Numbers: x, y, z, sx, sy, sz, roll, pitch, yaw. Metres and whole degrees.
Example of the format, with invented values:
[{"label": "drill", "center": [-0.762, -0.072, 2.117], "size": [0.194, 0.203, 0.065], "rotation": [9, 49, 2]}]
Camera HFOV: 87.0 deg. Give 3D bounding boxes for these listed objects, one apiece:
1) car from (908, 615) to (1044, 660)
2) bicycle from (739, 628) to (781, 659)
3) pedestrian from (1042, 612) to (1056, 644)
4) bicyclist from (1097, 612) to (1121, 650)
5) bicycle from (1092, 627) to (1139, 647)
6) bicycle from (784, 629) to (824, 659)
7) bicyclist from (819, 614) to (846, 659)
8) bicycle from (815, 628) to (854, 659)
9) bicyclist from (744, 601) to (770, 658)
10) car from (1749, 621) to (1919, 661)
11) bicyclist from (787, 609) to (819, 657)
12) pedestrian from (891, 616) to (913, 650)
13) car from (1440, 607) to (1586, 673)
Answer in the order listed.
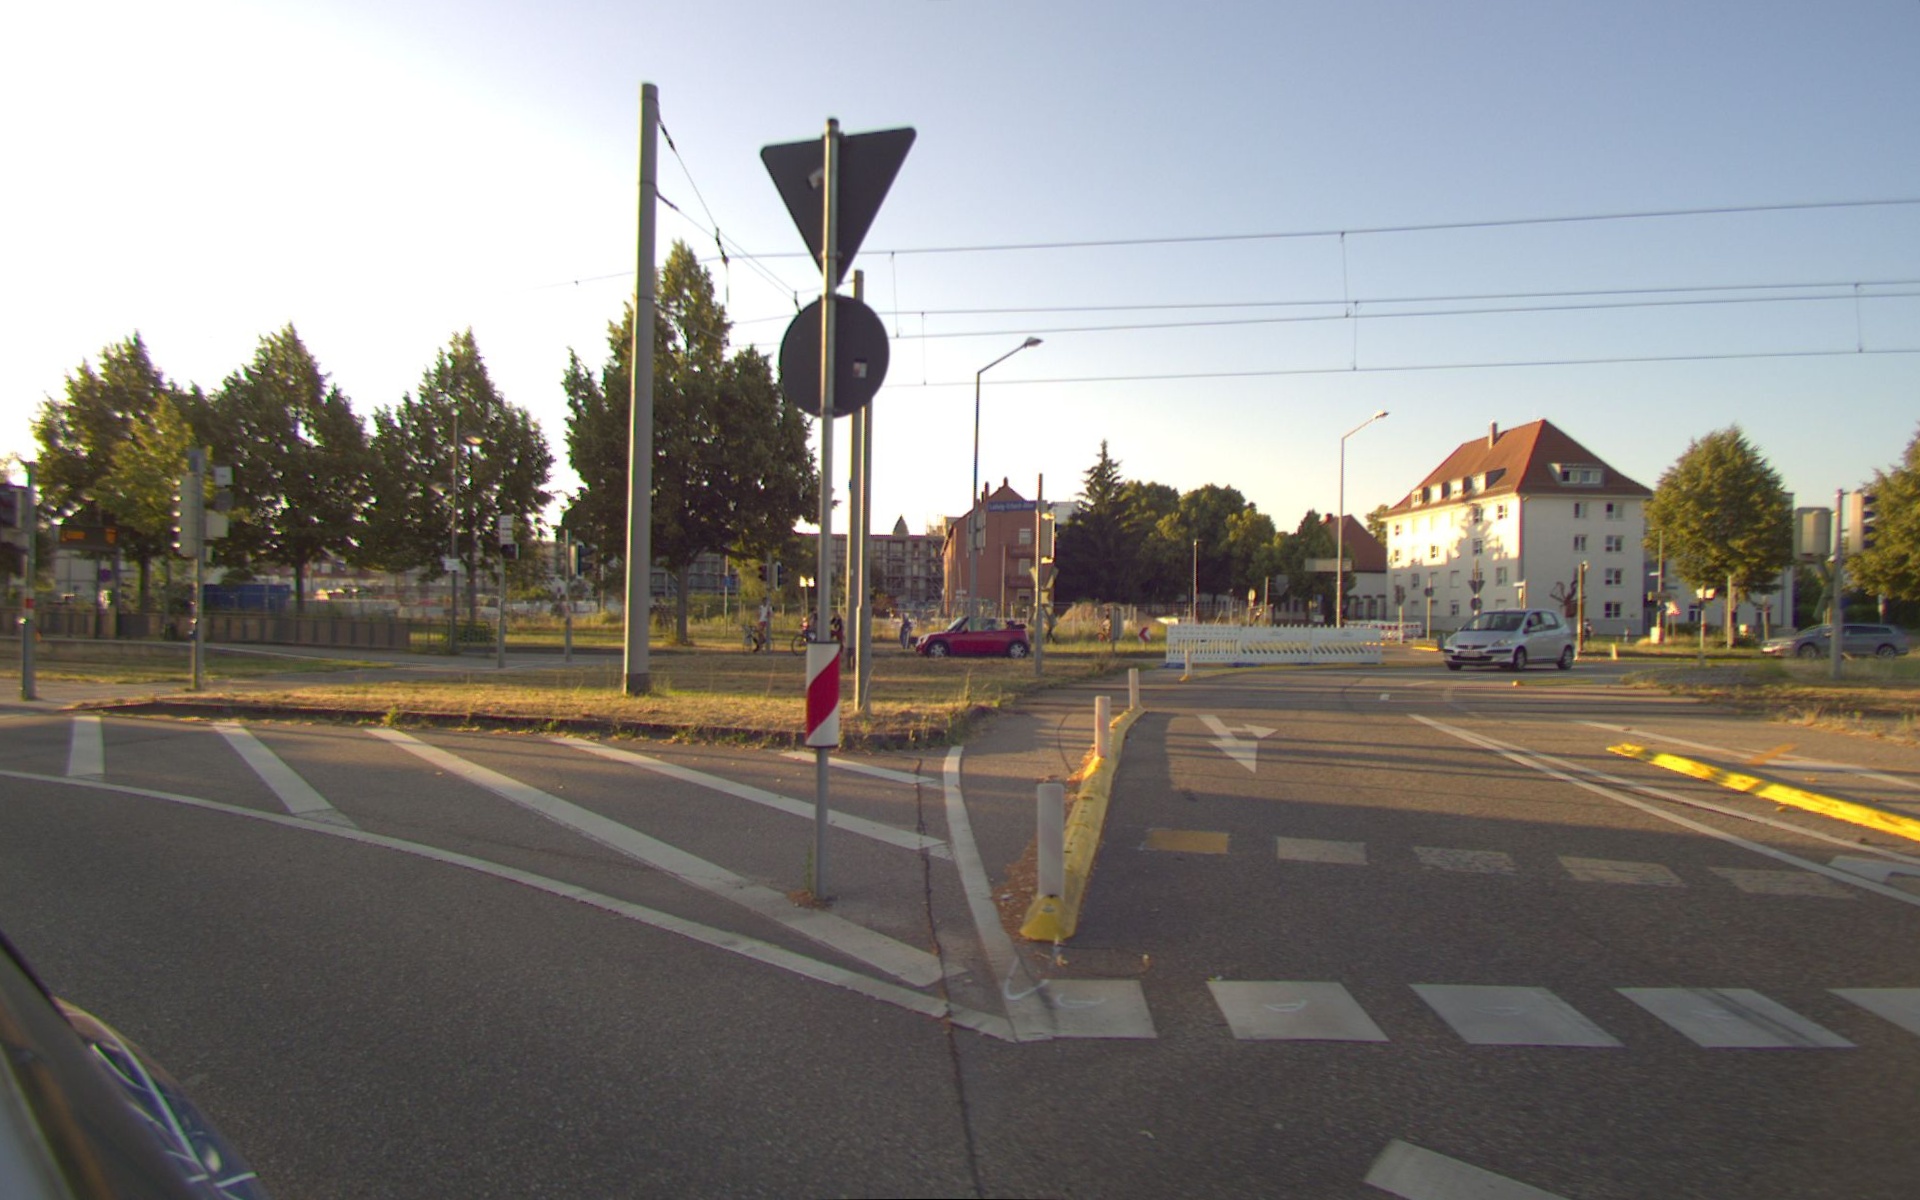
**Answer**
[{"label": "car", "center": [0.460, 1.143, 31.322], "size": [3.936, 1.342, 1.837], "rotation": [0, -1, -8]}, {"label": "bicycle", "center": [-6.904, 1.483, 34.969], "size": [0.546, 0.988, 1.831], "rotation": [0, -1, 21]}, {"label": "pedestrian", "center": [3.965, 1.238, 45.001], "size": [0.495, 1.376, 0.435], "rotation": [0, -1, -13]}, {"label": "bicyclist", "center": [6.555, 1.373, 44.628], "size": [0.784, 1.646, 0.698], "rotation": [0, -1, -23]}, {"label": "bicycle", "center": [6.901, 1.649, 44.805], "size": [2.098, 0.852, 0.514], "rotation": [0, -1, -23]}, {"label": "bicycle", "center": [-5.387, 1.501, 35.021], "size": [0.546, 0.988, 1.831], "rotation": [0, -1, 21]}, {"label": "bicyclist", "center": [-4.330, 1.238, 34.420], "size": [0.588, 1.517, 0.809], "rotation": [0, -1, 21]}, {"label": "bicycle", "center": [-4.264, 1.482, 34.594], "size": [0.533, 0.988, 1.831], "rotation": [0, -1, 21]}, {"label": "bicyclist", "center": [-6.987, 0.996, 34.777], "size": [0.611, 1.933, 0.673], "rotation": [0, -1, 21]}, {"label": "car", "center": [32.921, 1.534, 38.174], "size": [4.598, 1.426, 1.926], "rotation": [0, -1, 9]}, {"label": "bicyclist", "center": [-5.439, 1.131, 35.069], "size": [0.809, 1.653, 0.809], "rotation": [0, -1, 21]}, {"label": "pedestrian", "center": [-2.326, 1.317, 40.767], "size": [0.690, 1.376, 0.615], "rotation": [0, -1, 21]}, {"label": "car", "center": [13.339, 0.930, 24.370], "size": [3.649, 1.476, 1.611], "rotation": [1, -1, -35]}]
